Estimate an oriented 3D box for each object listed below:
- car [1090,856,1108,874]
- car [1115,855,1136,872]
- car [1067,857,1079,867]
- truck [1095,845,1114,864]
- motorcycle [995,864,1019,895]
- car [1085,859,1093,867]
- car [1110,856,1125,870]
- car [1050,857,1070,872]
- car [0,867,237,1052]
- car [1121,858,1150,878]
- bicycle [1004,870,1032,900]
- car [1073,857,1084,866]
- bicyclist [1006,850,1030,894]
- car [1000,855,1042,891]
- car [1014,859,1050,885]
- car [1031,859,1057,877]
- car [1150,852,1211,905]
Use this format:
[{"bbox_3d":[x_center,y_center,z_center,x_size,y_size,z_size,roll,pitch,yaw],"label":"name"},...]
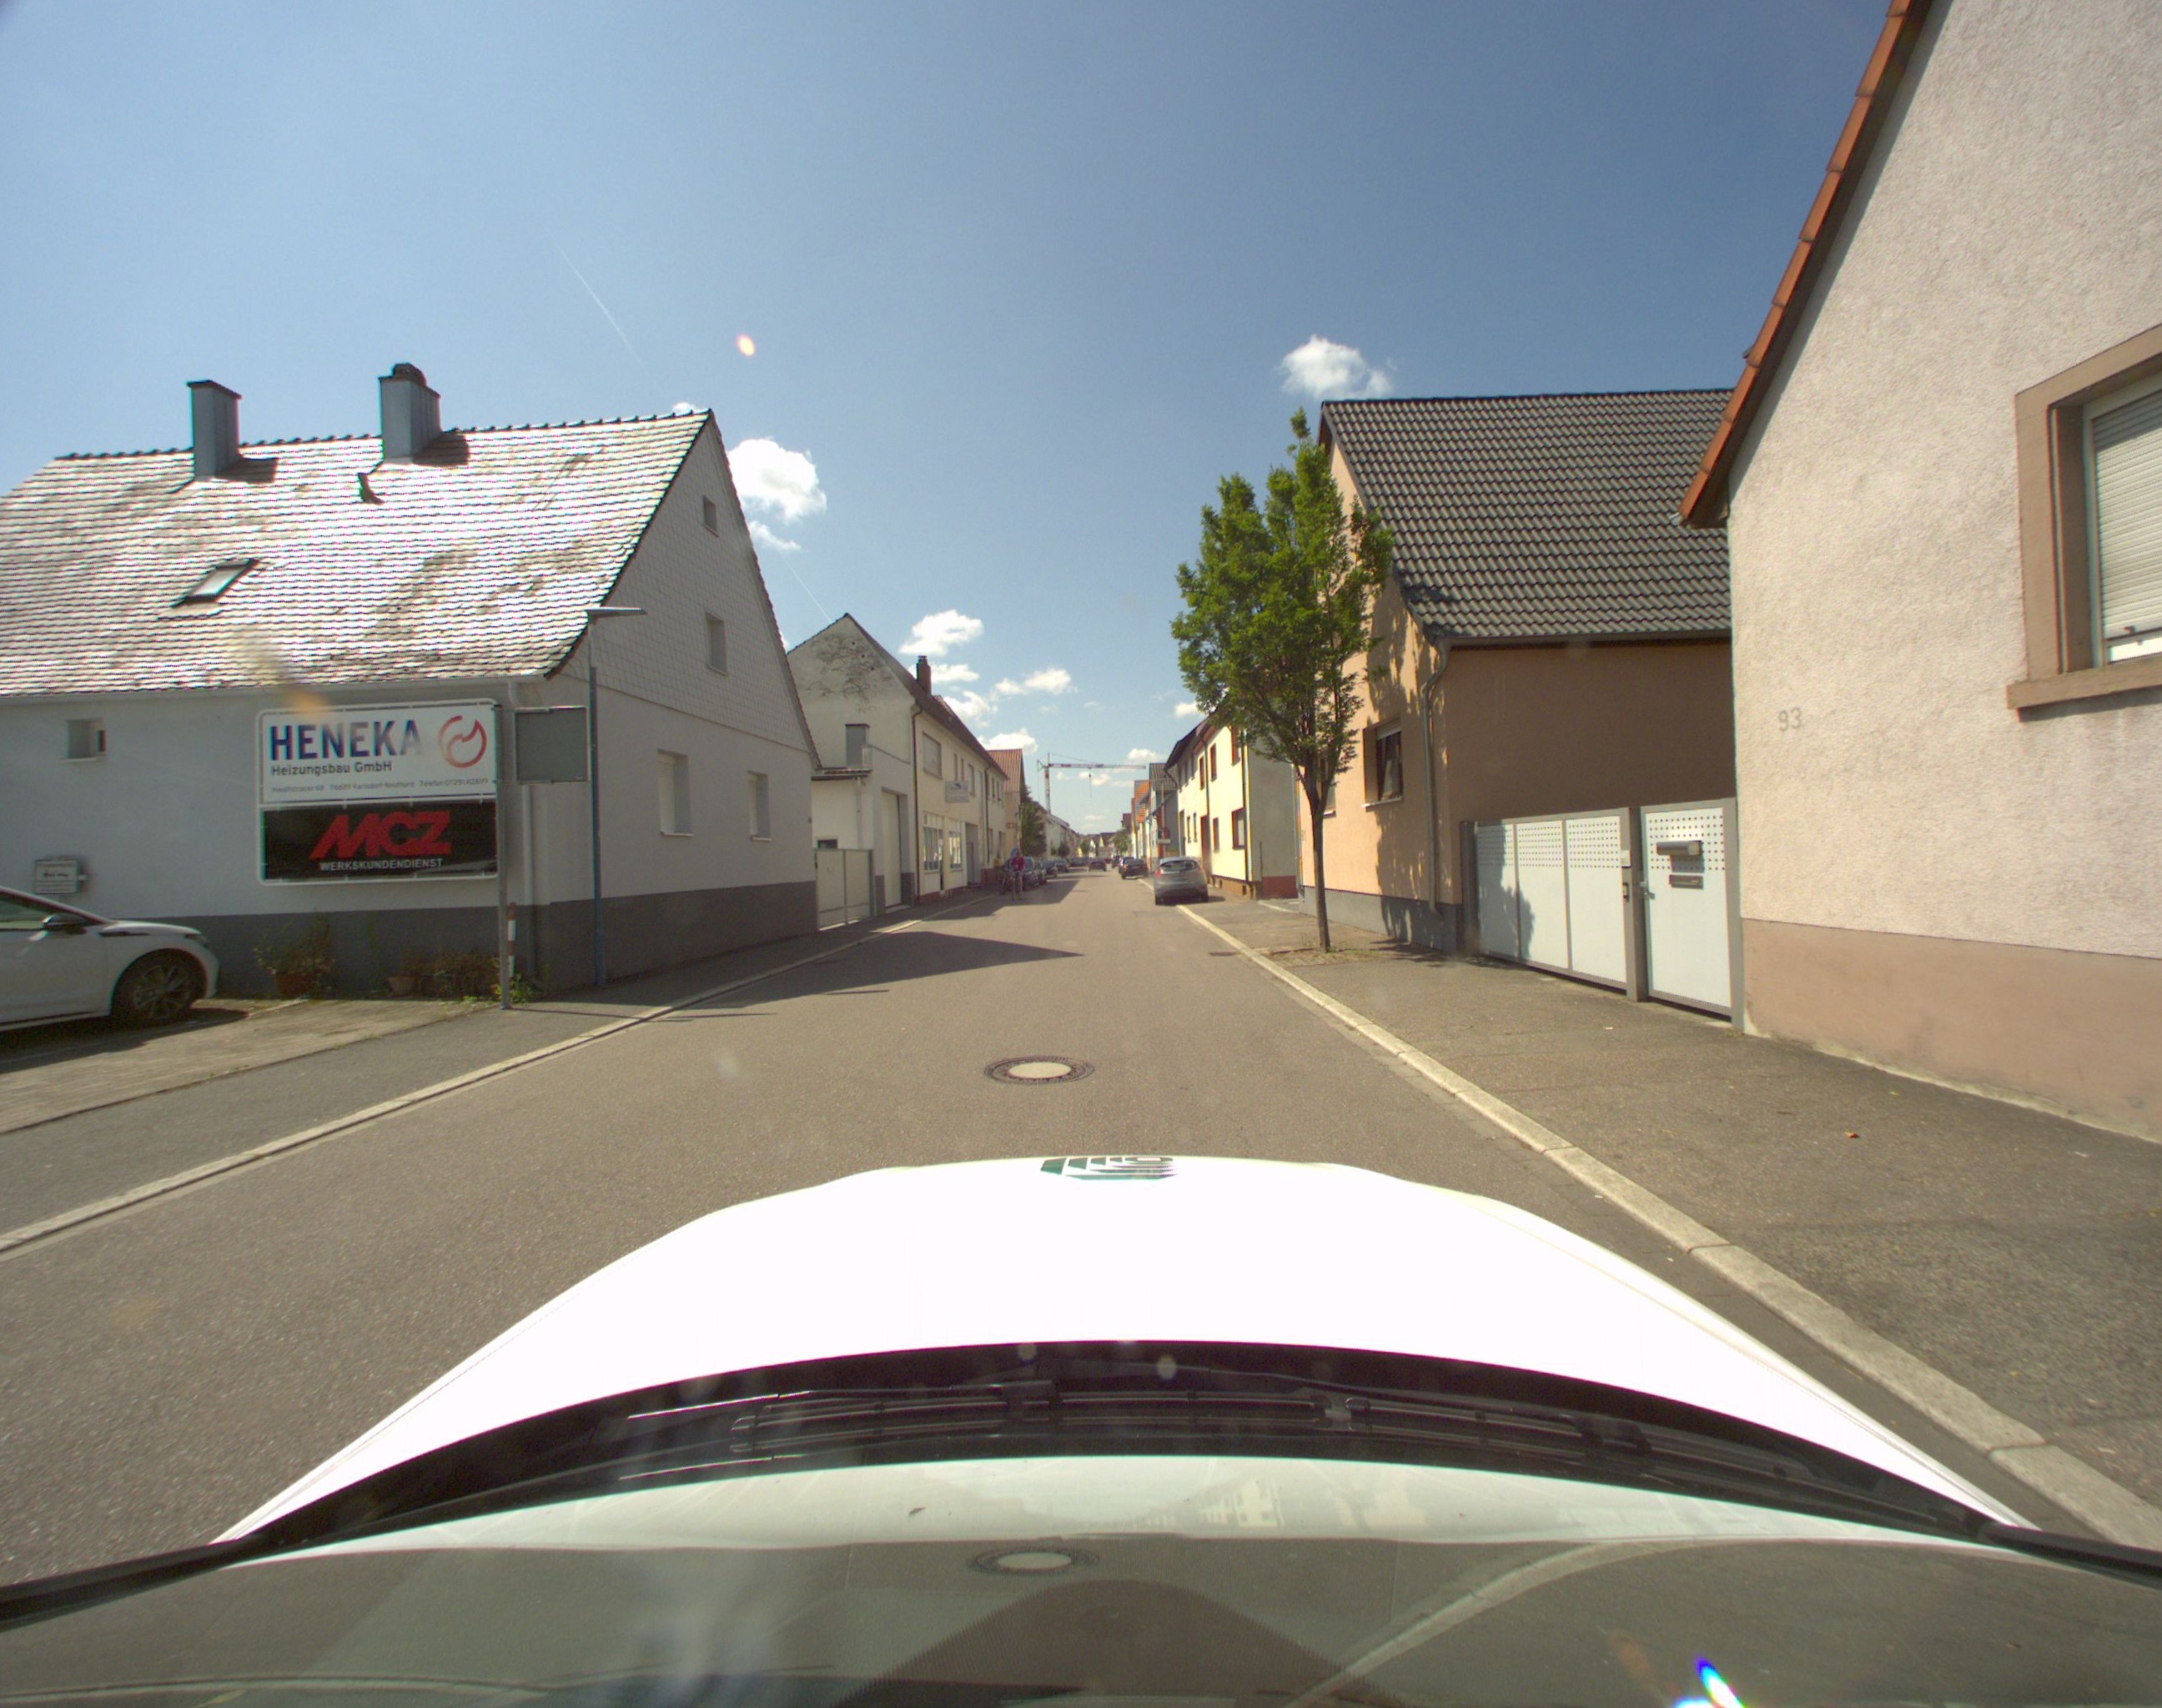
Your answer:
[{"bbox_3d":[1.865,1.183,84.900,1.777,1.753,4.000,-3,-1,0],"label":"car"},{"bbox_3d":[3.886,0.815,71.755,1.682,1.422,3.658,-2,0,1],"label":"car"},{"bbox_3d":[-1.324,1.382,136.245,1.752,1.525,4.289,-2,0,1],"label":"car"},{"bbox_3d":[4.933,0.186,174.261,3.368,3.865,13.923,-3,-1,0],"label":"truck"},{"bbox_3d":[-3.327,1.120,36.761,0.805,1.312,2.106,-2,0,1],"label":"motorcycle"},{"bbox_3d":[1.867,2.005,182.318,1.716,1.555,4.174,-1,0,2],"label":"car"},{"bbox_3d":[4.653,1.178,103.995,1.723,1.717,4.274,-2,0,-1],"label":"car"},{"bbox_3d":[-2.189,1.123,86.793,1.761,1.460,4.440,-2,0,3],"label":"car"},{"bbox_3d":[-10.229,0.939,6.763,1.768,1.570,4.478,-1,0,0],"label":"car"},{"bbox_3d":[3.633,0.918,55.058,1.809,1.276,4.148,-2,0,2],"label":"car"},{"bbox_3d":[-2.373,1.141,30.837,0.739,1.047,1.942,-1,0,5],"label":"bicycle"},{"bbox_3d":[-0.418,1.308,142.984,1.647,1.609,4.061,-2,0,1],"label":"car"},{"bbox_3d":[-2.379,0.680,30.841,0.743,1.637,0.957,-1,0,4],"label":"bicyclist"},{"bbox_3d":[-3.018,0.935,41.439,1.712,1.639,4.148,-4,0,0],"label":"car"},{"bbox_3d":[-2.853,1.037,48.075,1.691,1.411,4.391,-2,0,2],"label":"car"},{"bbox_3d":[-2.946,1.124,65.718,1.755,1.374,4.067,-1,0,1],"label":"car"},{"bbox_3d":[3.196,0.740,26.612,1.713,1.481,3.755,-5,0,5],"label":"car"}]
